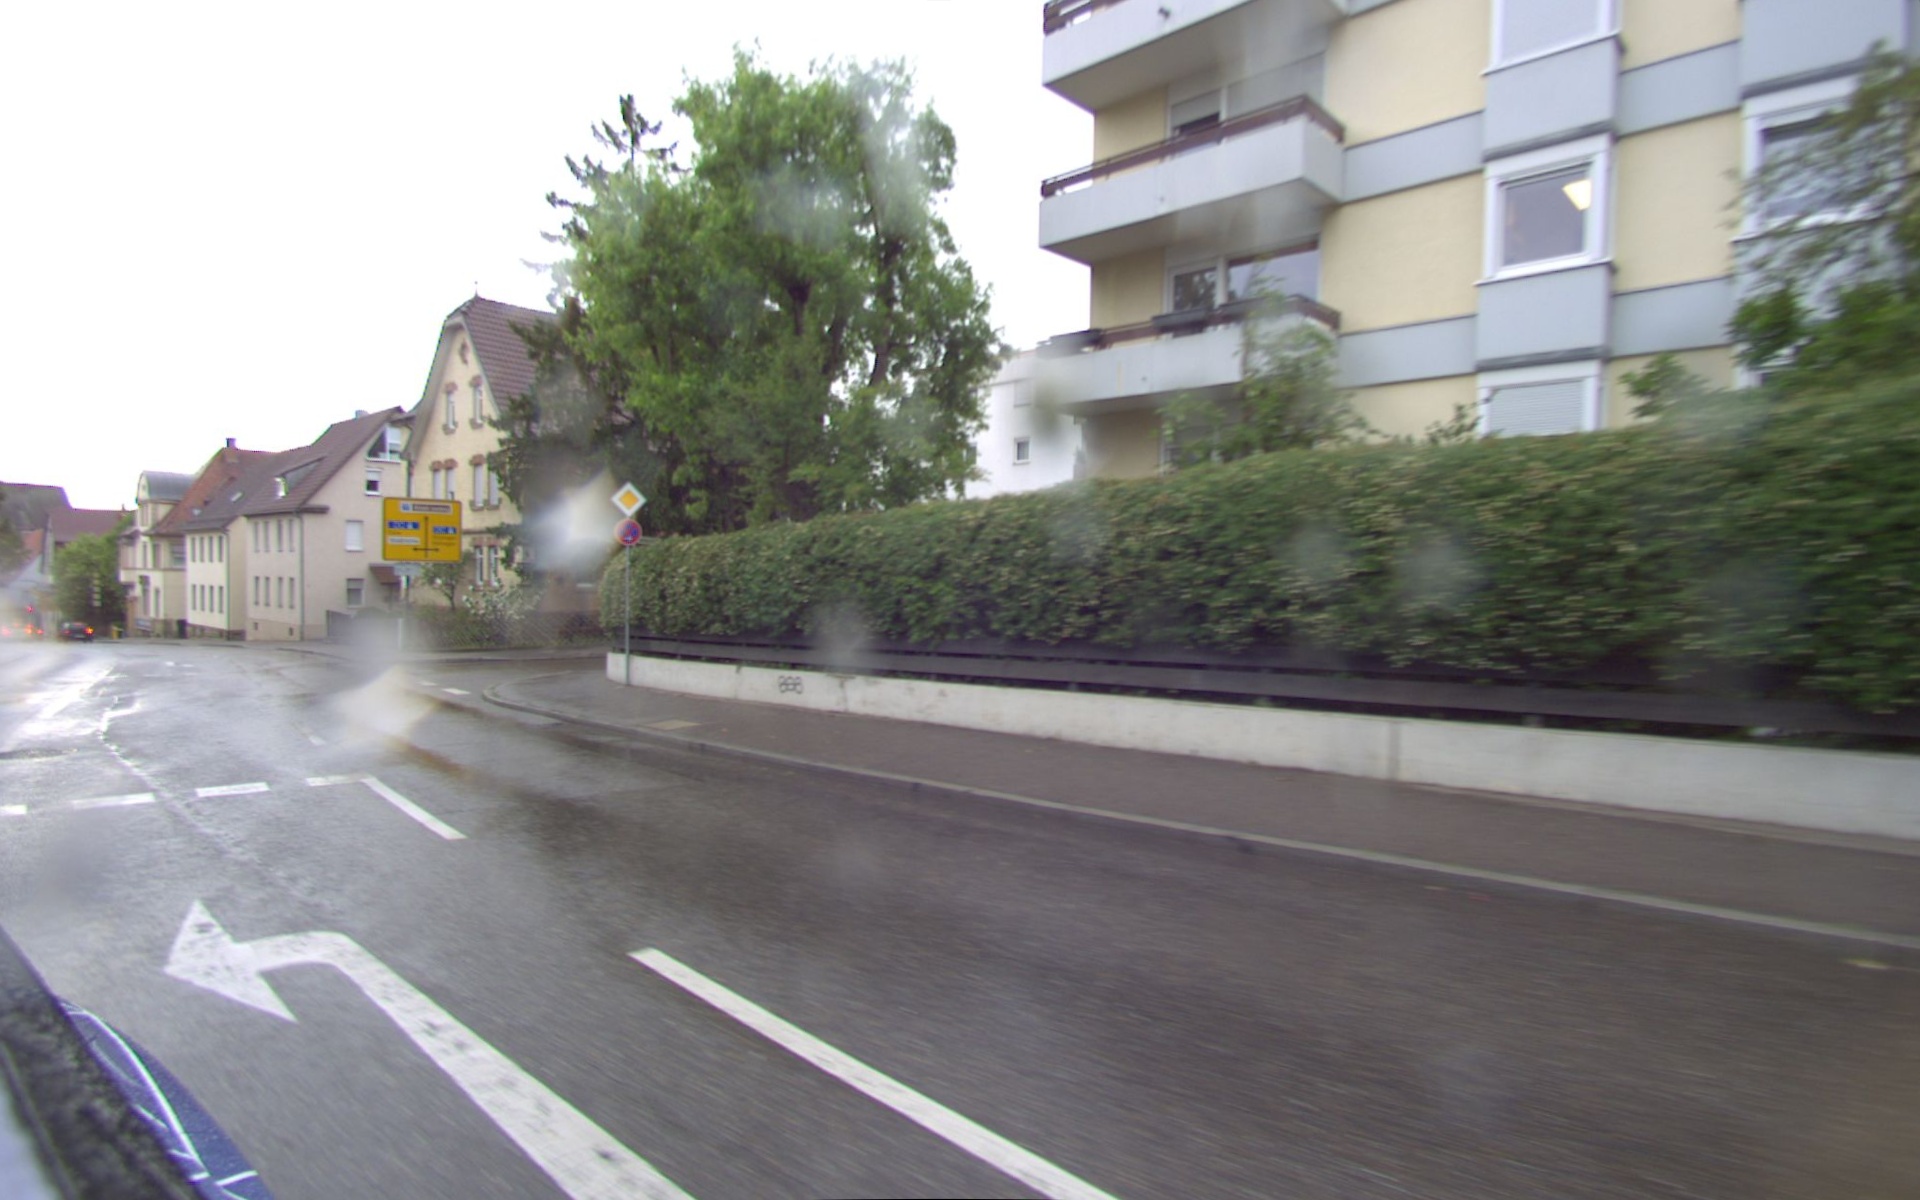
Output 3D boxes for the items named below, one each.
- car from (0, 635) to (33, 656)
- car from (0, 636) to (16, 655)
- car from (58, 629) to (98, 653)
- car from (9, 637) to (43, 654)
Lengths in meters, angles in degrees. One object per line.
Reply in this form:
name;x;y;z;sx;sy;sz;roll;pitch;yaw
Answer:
car;-69.920;3.357;74.714;4.688;1.450;1.780;-3;-2;42
car;-76.140;3.622;79.975;4.686;1.450;1.781;-2;-1;41
car;-63.900;2.965;73.287;3.813;1.583;1.726;-2;2;43
car;-83.921;4.083;90.906;4.056;1.364;1.720;-2;-1;40
